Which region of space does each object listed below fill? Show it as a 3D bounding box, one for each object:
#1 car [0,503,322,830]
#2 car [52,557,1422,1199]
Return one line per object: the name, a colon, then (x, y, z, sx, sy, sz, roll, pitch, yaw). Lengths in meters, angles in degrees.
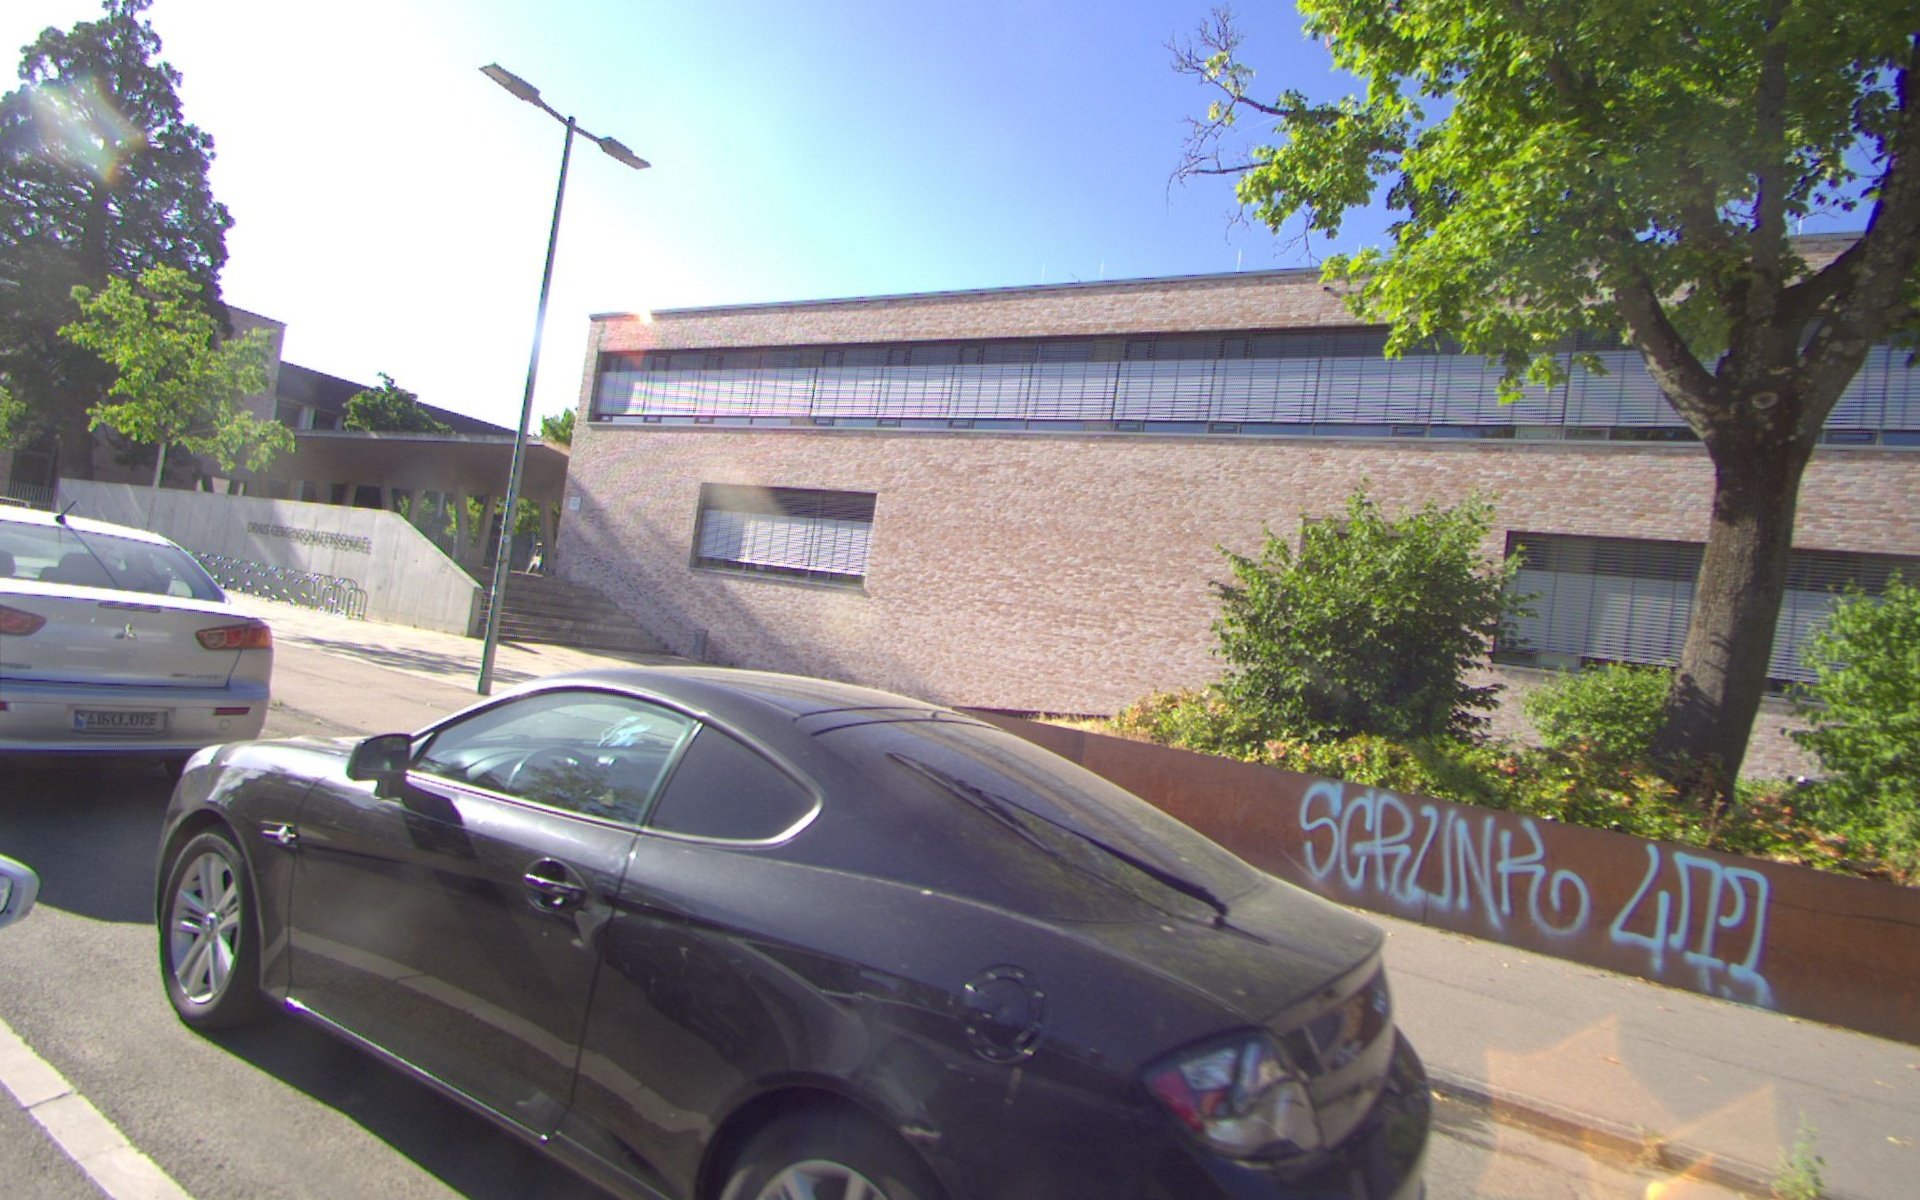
car: (-5.891, 0.178, 6.058, 4.104, 1.494, 1.706, 6, -3, 32)
car: (-0.914, 0.812, 3.185, 4.061, 1.339, 1.706, 6, -3, 31)
